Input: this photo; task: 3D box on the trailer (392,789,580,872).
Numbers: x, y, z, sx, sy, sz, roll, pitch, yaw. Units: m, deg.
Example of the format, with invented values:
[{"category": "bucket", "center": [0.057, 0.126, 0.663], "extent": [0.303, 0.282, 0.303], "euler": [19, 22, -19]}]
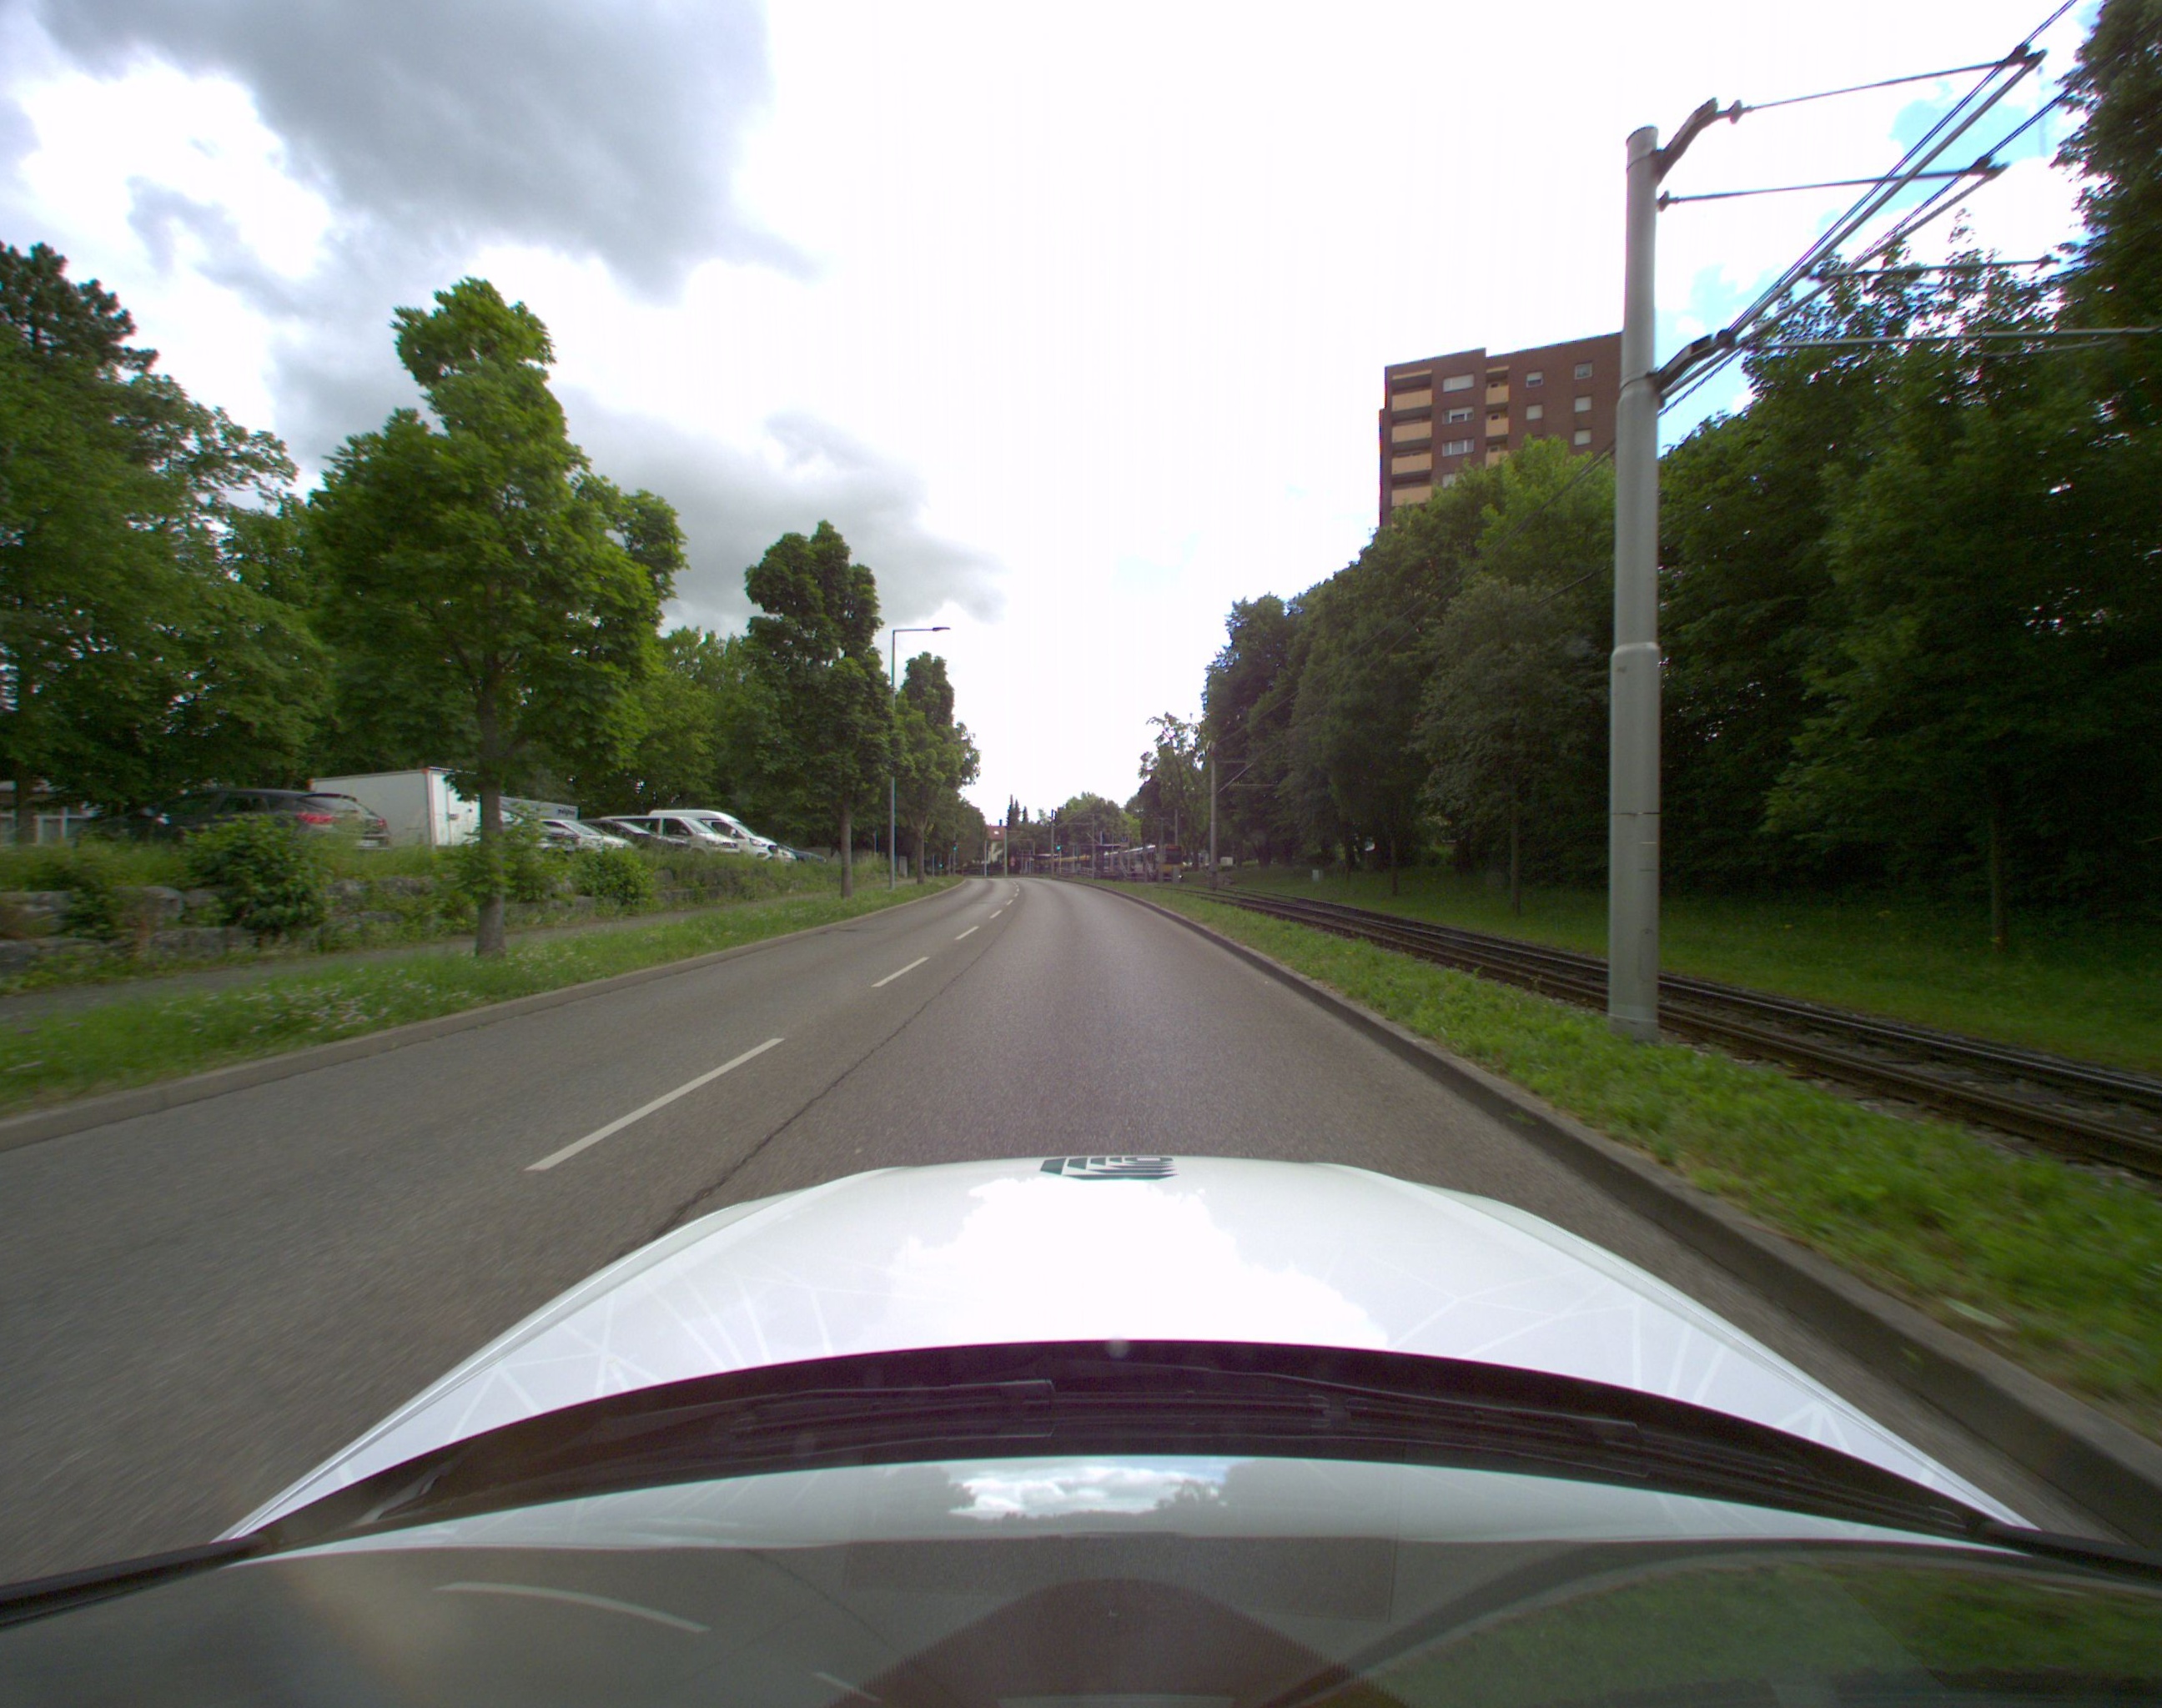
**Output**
[{"category": "trailer", "center": [-25.065, -0.833, 34.879], "extent": [2.639, 3.075, 7.193], "euler": [1, -2, 0]}]

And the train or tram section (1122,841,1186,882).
[{"category": "train or tram section", "center": [7.120, 0.993, 83.517], "extent": [2.810, 3.737, 18.485], "euler": [1, -2, -6]}]

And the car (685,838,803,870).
[{"category": "car", "center": [-14.435, 0.010, 34.987], "extent": [4.365, 1.316, 1.562], "euler": [1, 0, -1]}]

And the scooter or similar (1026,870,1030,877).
[{"category": "scooter or similar", "center": [-8.977, 3.276, 137.550], "extent": [0.369, 1.242, 1.140], "euler": [0, -2, -15]}]

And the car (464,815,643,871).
[{"category": "car", "center": [-15.263, -0.309, 23.697], "extent": [4.017, 1.512, 1.782], "euler": [1, 0, 3]}]

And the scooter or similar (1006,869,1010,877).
[{"category": "scooter or similar", "center": [-13.146, 3.444, 146.735], "extent": [0.432, 1.253, 1.244], "euler": [-1, -4, -23]}]

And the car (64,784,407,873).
[{"category": "car", "center": [-14.735, -0.421, 14.379], "extent": [4.017, 1.417, 2.002], "euler": [1, 0, 3]}]

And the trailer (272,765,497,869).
[{"category": "trailer", "center": [-14.627, -0.726, 17.217], "extent": [3.351, 2.058, 1.680], "euler": [0, -1, 3]}]

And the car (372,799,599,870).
[{"category": "car", "center": [-14.289, -0.452, 19.715], "extent": [4.017, 1.584, 2.002], "euler": [1, 0, 3]}]

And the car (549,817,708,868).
[{"category": "car", "center": [-14.684, -0.364, 26.583], "extent": [4.017, 1.548, 2.002], "euler": [1, 0, 3]}]

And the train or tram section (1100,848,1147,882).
[{"category": "train or tram section", "center": [5.025, 1.543, 102.198], "extent": [2.810, 3.799, 18.886], "euler": [1, -2, -6]}]

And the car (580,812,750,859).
[{"category": "car", "center": [-14.771, -0.634, 29.090], "extent": [4.973, 1.548, 2.099], "euler": [1, 0, 3]}]

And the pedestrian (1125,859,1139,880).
[{"category": "pedestrian", "center": [4.242, 1.298, 67.868], "extent": [0.986, 1.758, 0.725], "euler": [1, -1, -17]}]

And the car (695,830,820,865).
[{"category": "car", "center": [-15.227, -0.287, 38.525], "extent": [5.141, 1.561, 1.885], "euler": [1, 0, -1]}]

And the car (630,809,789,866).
[{"category": "car", "center": [-14.444, -0.607, 31.944], "extent": [5.141, 2.107, 2.213], "euler": [1, 0, -1]}]
